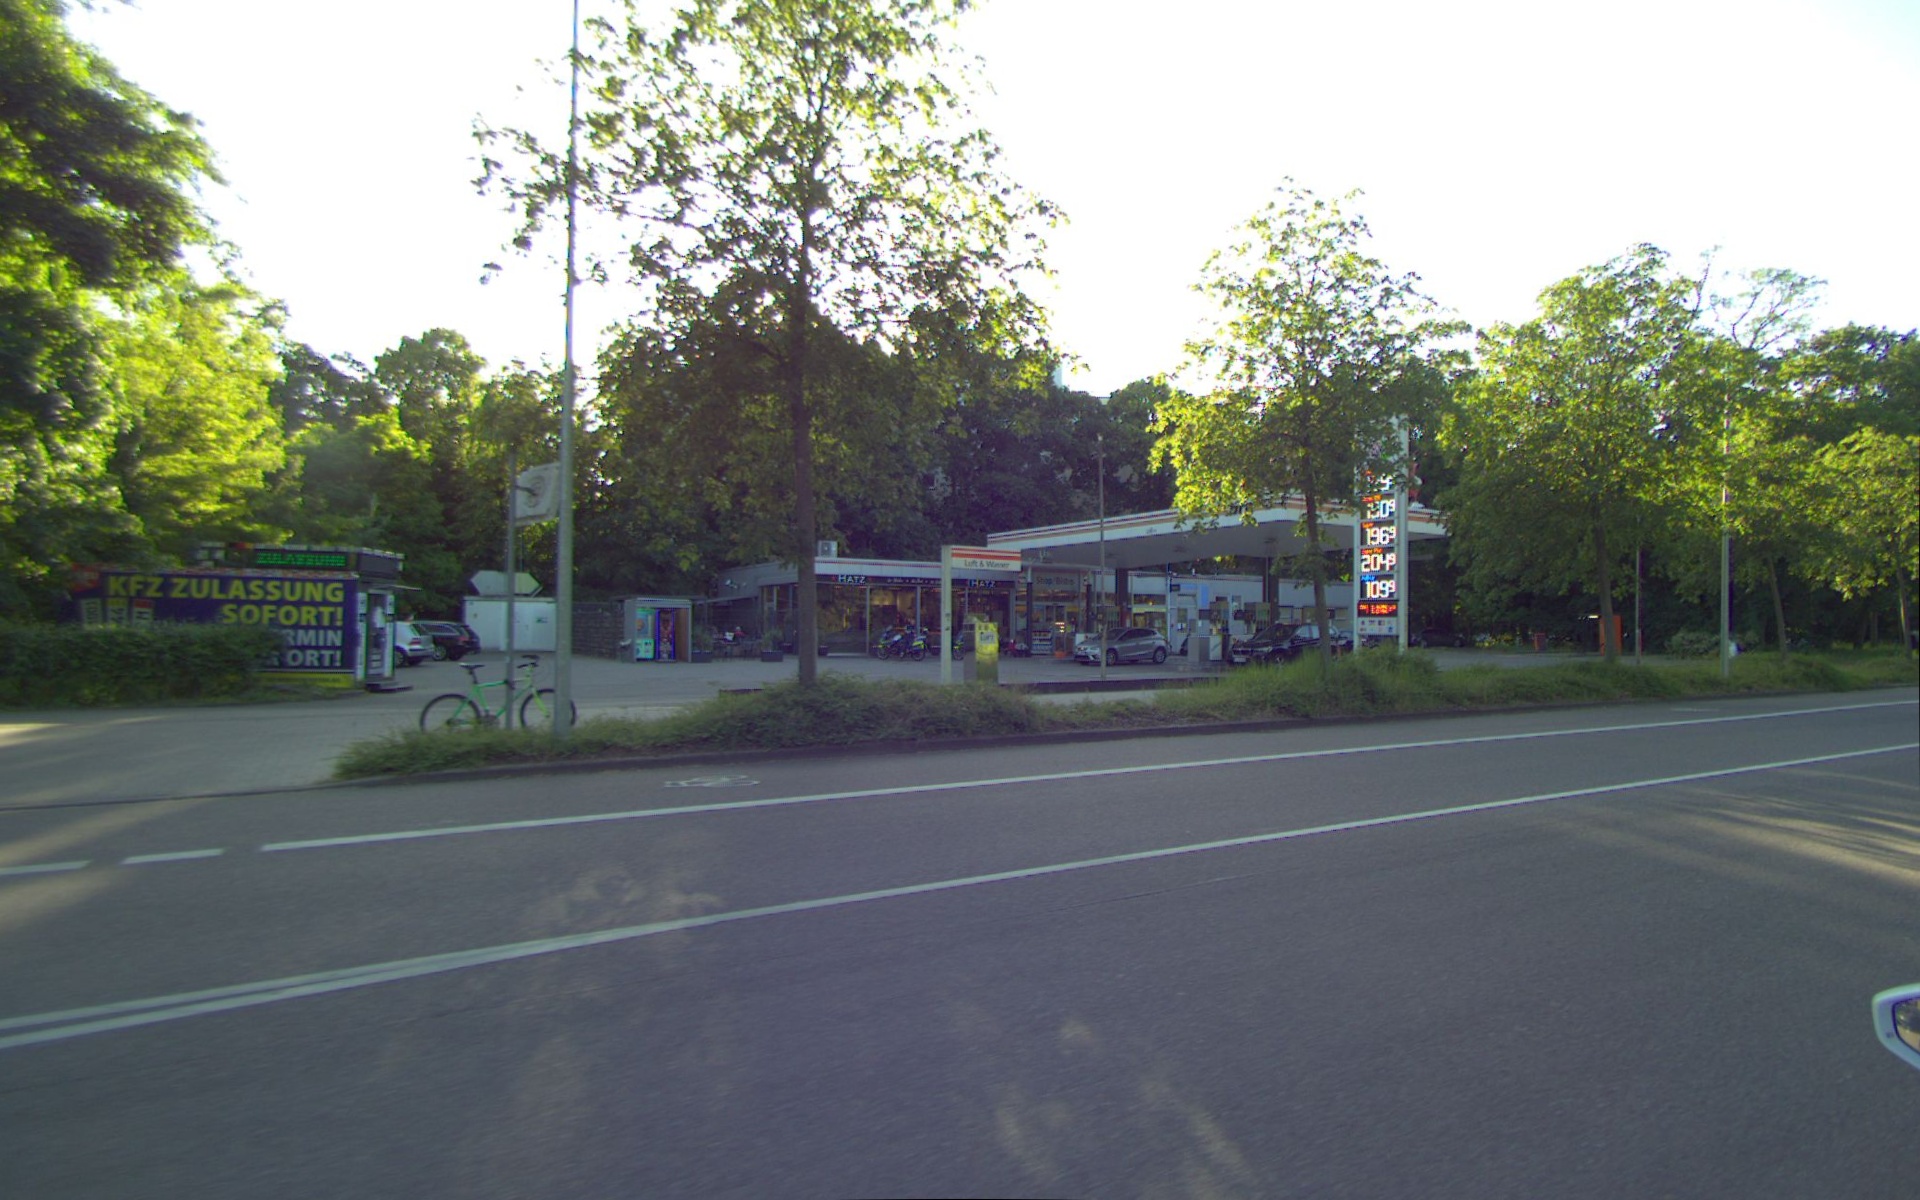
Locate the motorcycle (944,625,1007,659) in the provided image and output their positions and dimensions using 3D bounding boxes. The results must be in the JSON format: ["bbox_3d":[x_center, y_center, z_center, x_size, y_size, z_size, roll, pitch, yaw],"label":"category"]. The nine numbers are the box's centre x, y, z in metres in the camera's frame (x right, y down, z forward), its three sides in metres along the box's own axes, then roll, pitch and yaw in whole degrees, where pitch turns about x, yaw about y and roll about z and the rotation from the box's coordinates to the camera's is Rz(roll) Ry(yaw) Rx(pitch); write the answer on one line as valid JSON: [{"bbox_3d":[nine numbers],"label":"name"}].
[{"bbox_3d":[0.655,1.815,43.529,2.693,1.470,1.134,0,-1,-4],"label":"motorcycle"}]

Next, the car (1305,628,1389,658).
[{"bbox_3d":[21.280,2.327,55.368,1.880,1.576,3.962,1,-2,-35],"label":"car"}]

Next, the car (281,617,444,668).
[{"bbox_3d":[-18.863,1.333,31.899,3.950,1.557,1.996,1,-1,-12],"label":"car"}]

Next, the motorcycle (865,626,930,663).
[{"bbox_3d":[-2.596,1.822,41.574,2.455,1.470,1.135,0,-1,14],"label":"motorcycle"}]

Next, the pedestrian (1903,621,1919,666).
[{"bbox_3d":[44.297,2.001,46.421,0.782,2.040,0.718,1,-1,-5],"label":"pedestrian"}]

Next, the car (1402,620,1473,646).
[{"bbox_3d":[34.412,2.392,72.462,4.187,1.844,2.000,0,-1,-1],"label":"car"}]

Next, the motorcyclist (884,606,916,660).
[{"bbox_3d":[-2.478,1.372,41.559,0.996,2.211,1.124,0,-1,14],"label":"motorcyclist"}]

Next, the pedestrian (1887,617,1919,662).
[{"bbox_3d":[43.514,1.820,46.345,0.782,2.040,0.718,0,-1,-6],"label":"pedestrian"}]

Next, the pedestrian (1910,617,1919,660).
[{"bbox_3d":[45.949,1.843,47.751,0.857,2.040,0.719,0,-1,1],"label":"pedestrian"}]

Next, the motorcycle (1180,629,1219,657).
[{"bbox_3d":[12.000,2.131,50.390,0.916,1.381,1.829,1,-1,-29],"label":"motorcycle"}]

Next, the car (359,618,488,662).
[{"bbox_3d":[-19.787,1.483,37.234,3.850,1.557,1.993,1,-1,-17],"label":"car"}]

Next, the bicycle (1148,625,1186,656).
[{"bbox_3d":[10.358,2.026,50.390,0.916,1.496,1.829,1,-1,-29],"label":"bicycle"}]

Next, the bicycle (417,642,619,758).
[{"bbox_3d":[-5.302,1.156,12.130,2.138,1.266,0.650,1,-2,-36],"label":"bicycle"}]

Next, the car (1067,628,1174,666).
[{"bbox_3d":[6.298,1.820,39.309,4.014,1.394,1.702,1,-2,-32],"label":"car"}]

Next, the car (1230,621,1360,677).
[{"bbox_3d":[10.879,1.556,32.501,4.408,1.713,1.700,1,-2,-35],"label":"car"}]
